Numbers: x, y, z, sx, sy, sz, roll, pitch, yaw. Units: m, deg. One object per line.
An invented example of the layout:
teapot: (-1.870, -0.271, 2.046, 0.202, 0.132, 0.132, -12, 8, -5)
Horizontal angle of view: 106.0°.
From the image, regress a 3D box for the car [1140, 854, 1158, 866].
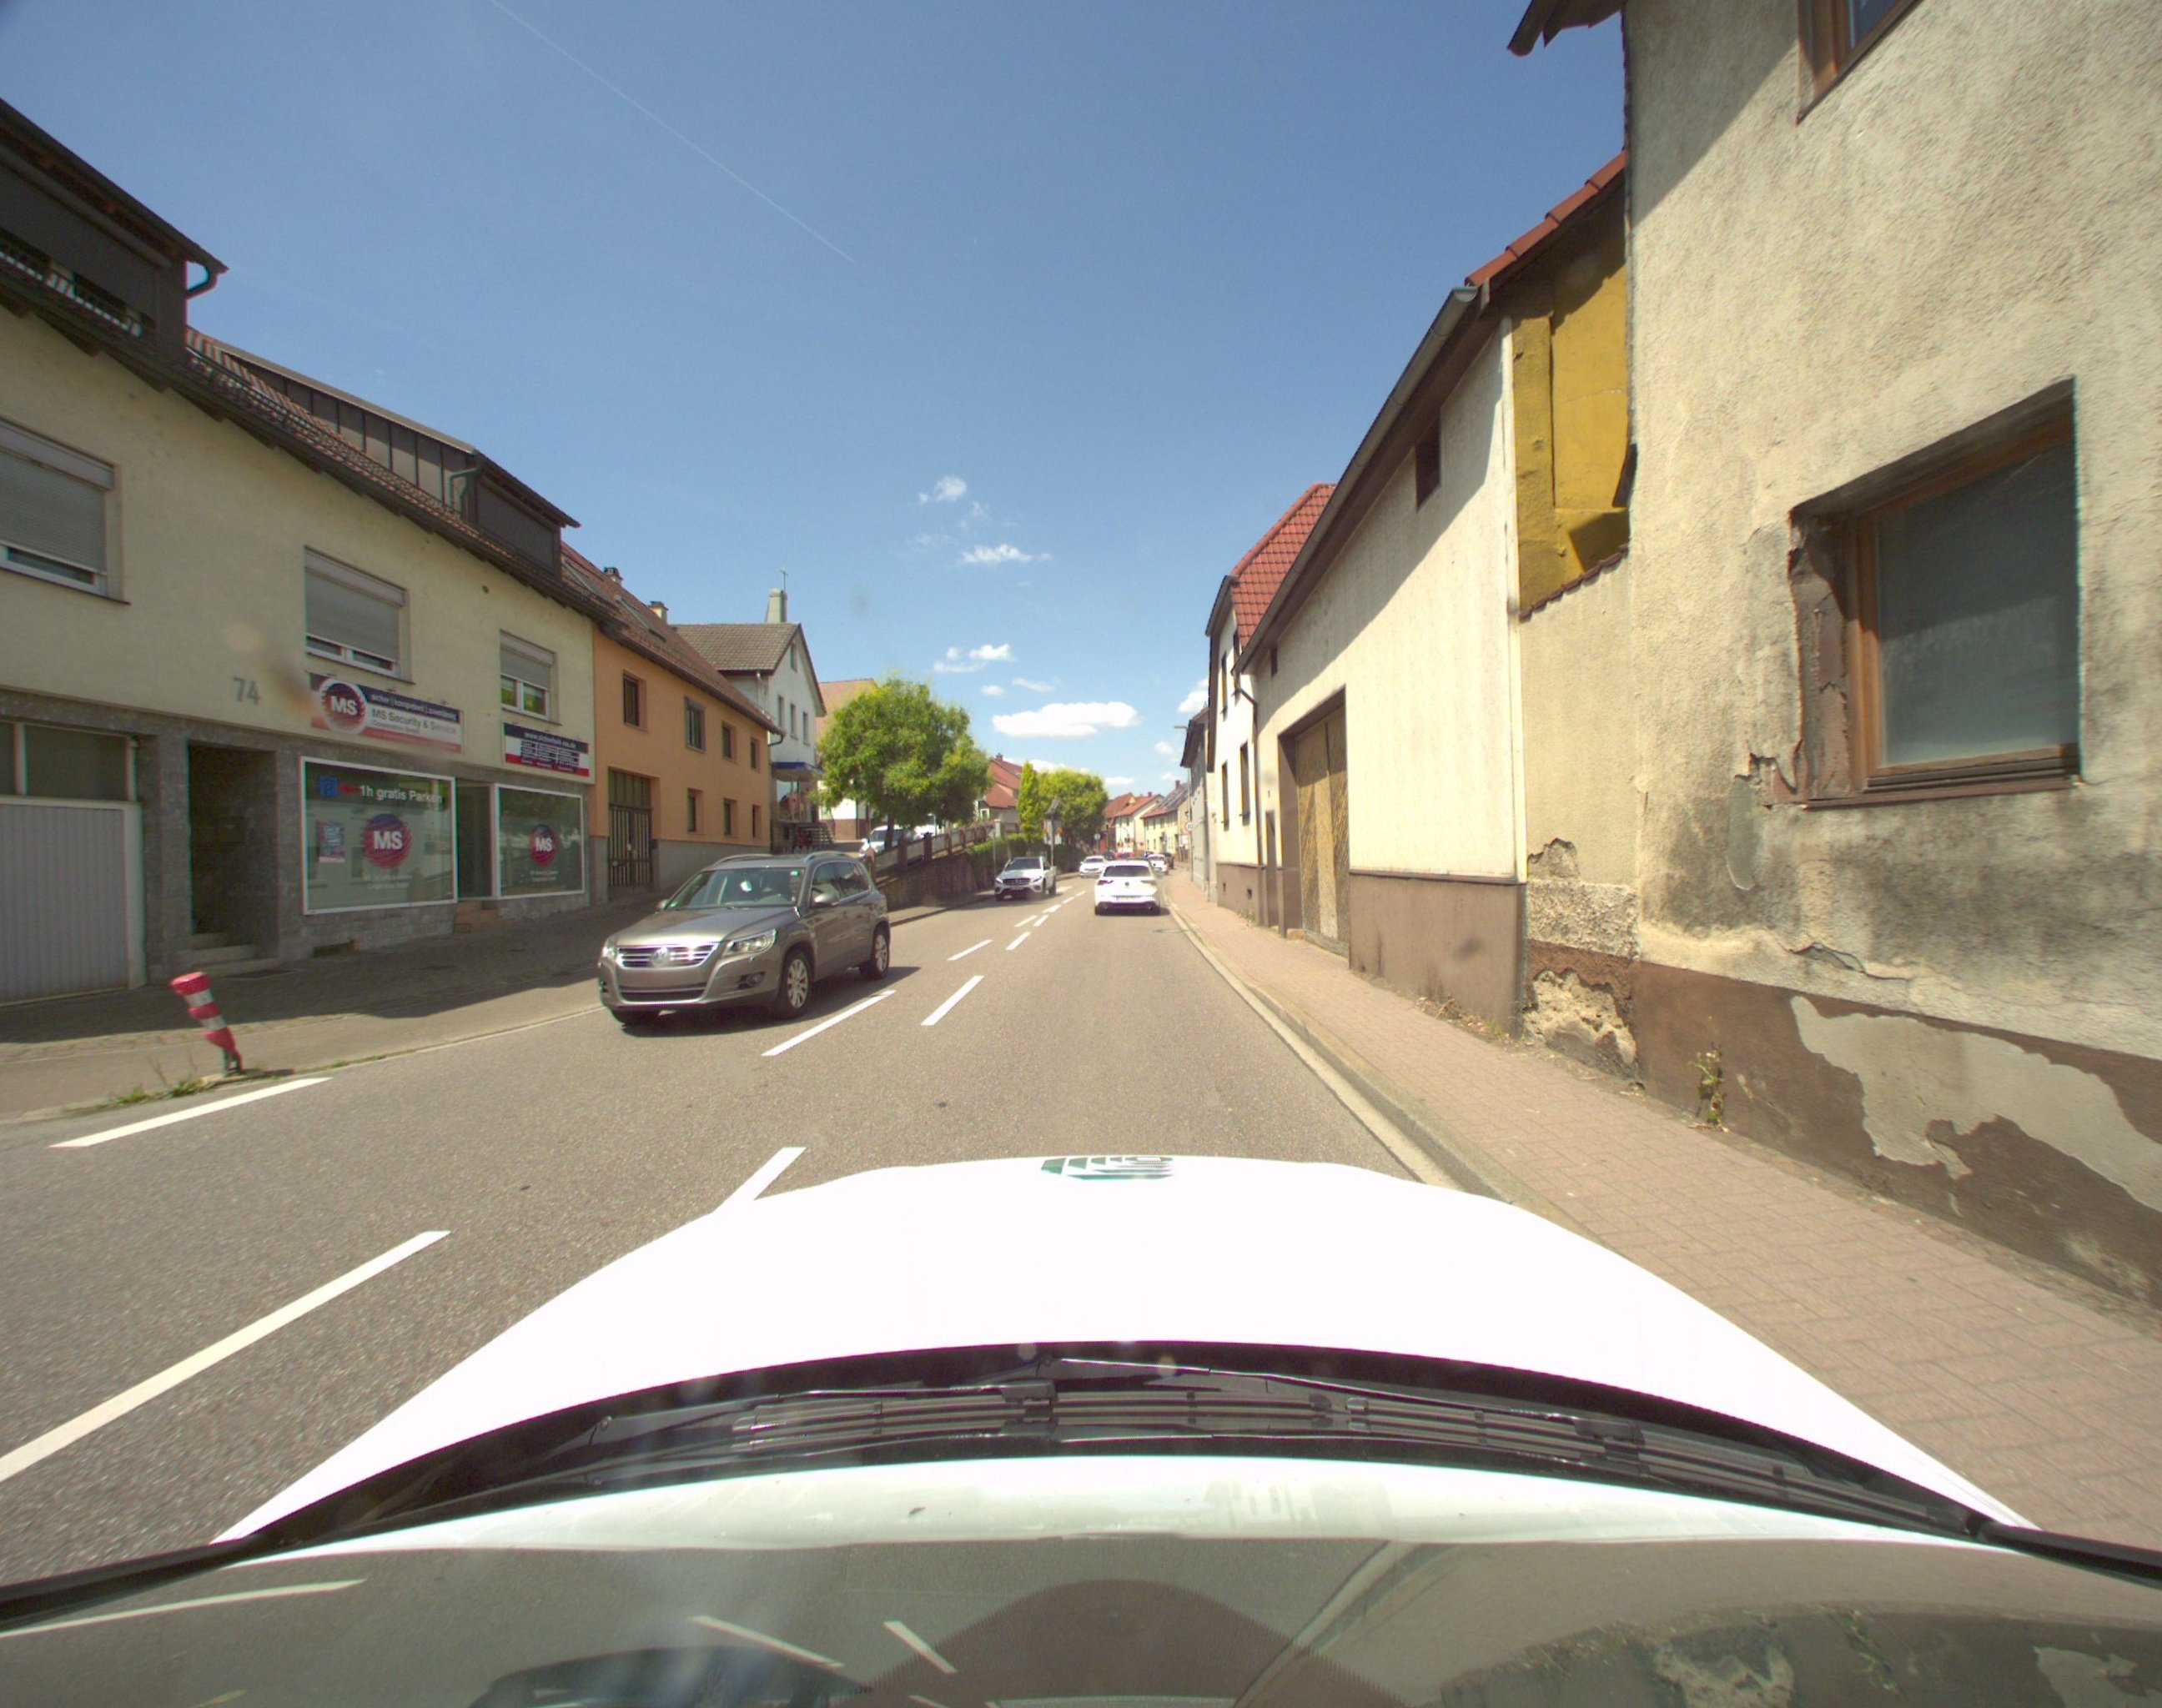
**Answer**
car: (8.646, 0.752, 103.664, 1.771, 1.538, 3.995, -1, 0, -3)

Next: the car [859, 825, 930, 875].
car: (-6.988, -0.209, 30.868, 1.687, 1.542, 3.858, -1, 6, 1)

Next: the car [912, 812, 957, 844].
car: (-7.679, -1.398, 42.863, 1.571, 1.361, 3.858, -1, 6, 1)

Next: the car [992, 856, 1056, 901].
car: (-2.167, 0.902, 32.204, 1.834, 1.580, 4.450, -2, 0, 4)

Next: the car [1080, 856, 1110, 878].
car: (1.033, 0.881, 57.187, 1.805, 1.447, 4.434, -3, 0, 3)

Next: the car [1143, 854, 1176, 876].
car: (5.733, 0.784, 59.143, 1.795, 1.467, 4.015, 0, 0, 14)

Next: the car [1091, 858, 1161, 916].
car: (1.260, 0.859, 22.843, 1.800, 1.467, 4.003, 0, 0, 3)

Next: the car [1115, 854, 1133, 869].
car: (4.476, 0.725, 84.246, 1.608, 1.444, 3.808, -3, 0, 7)

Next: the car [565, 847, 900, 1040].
car: (-3.509, 0.786, 9.155, 1.750, 1.635, 4.053, -2, 0, 4)

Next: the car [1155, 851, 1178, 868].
car: (8.095, 0.468, 76.934, 1.764, 1.538, 4.012, -1, 0, 11)

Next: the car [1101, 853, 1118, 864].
car: (4.002, 0.620, 114.682, 1.792, 1.377, 4.107, -1, 0, -6)

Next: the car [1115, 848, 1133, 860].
car: (6.223, 0.022, 118.621, 1.776, 1.765, 3.986, -1, 0, -10)
